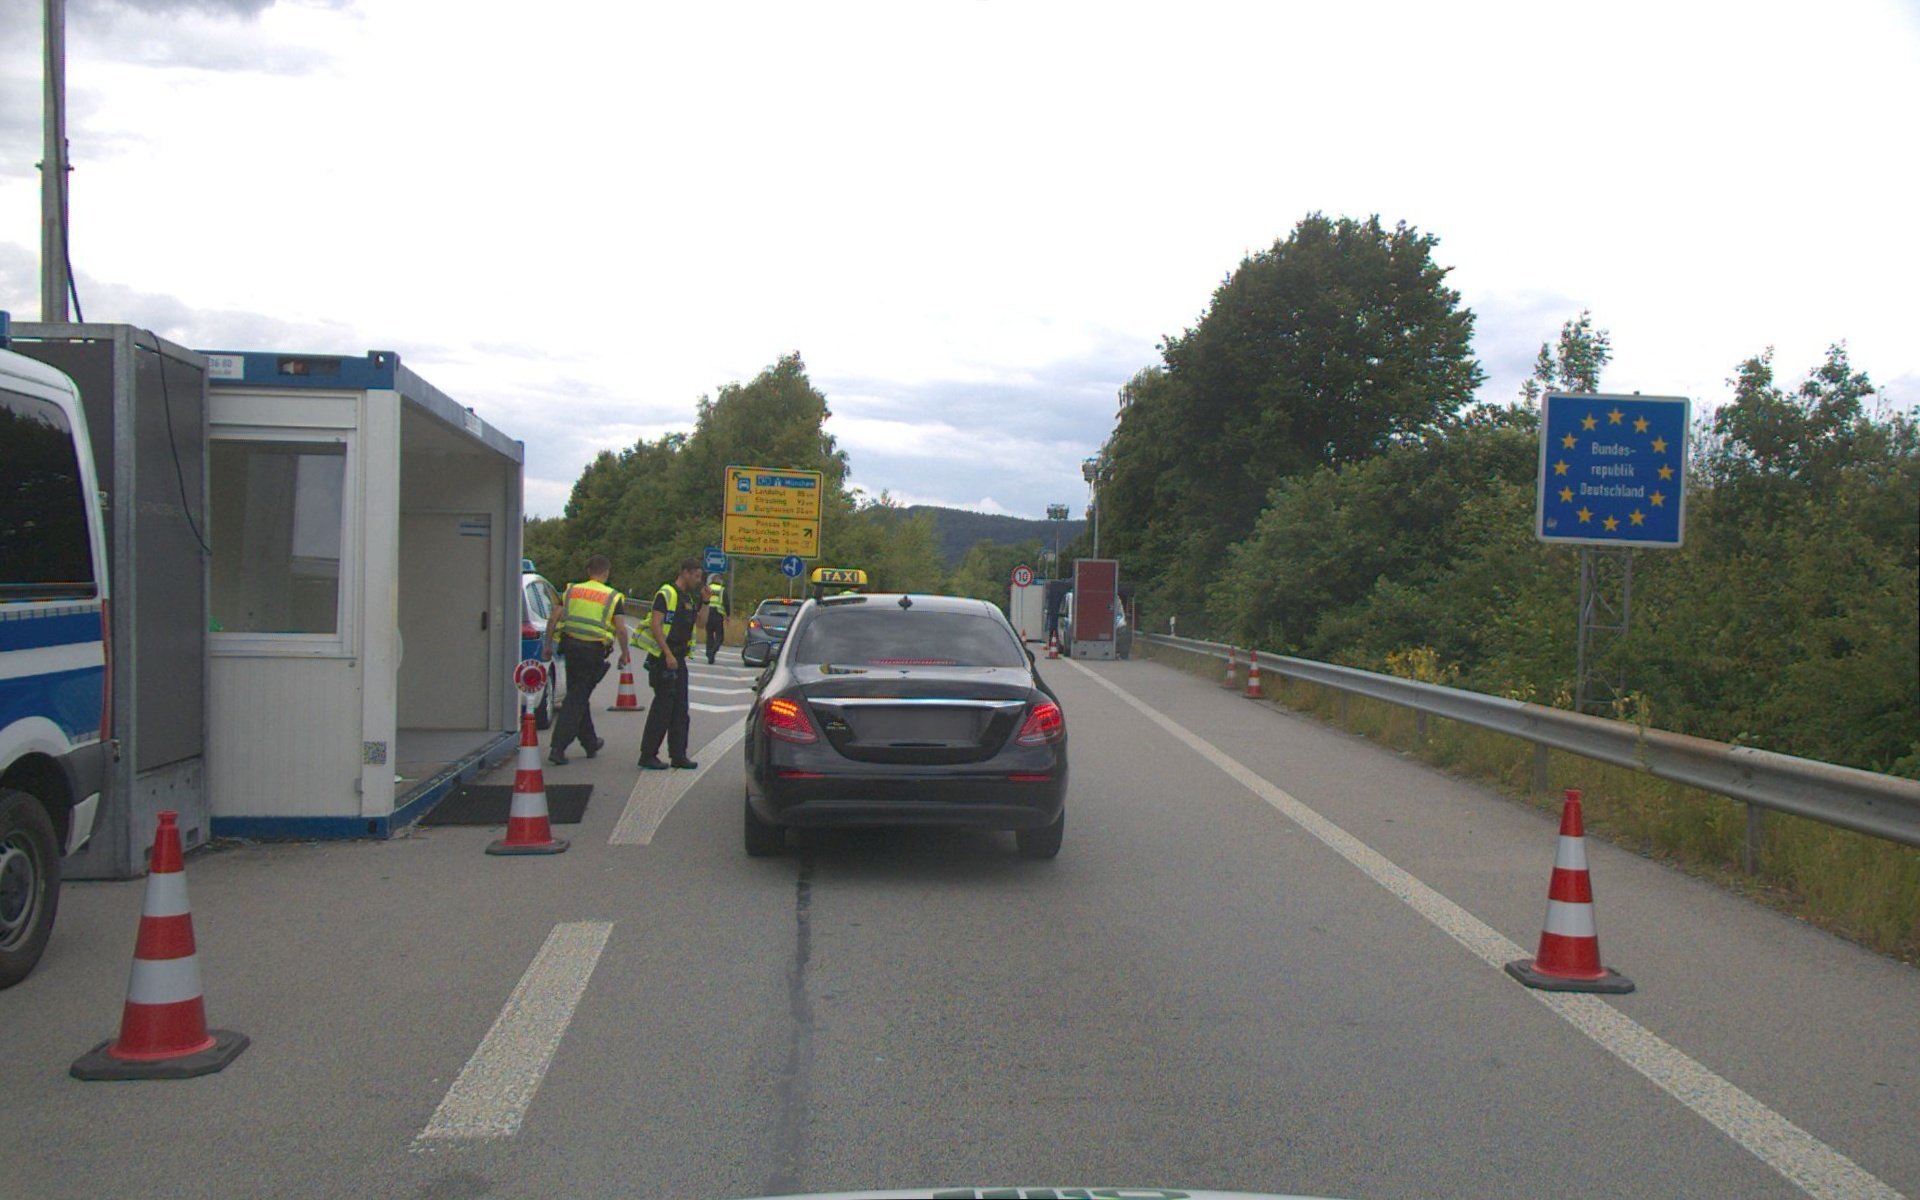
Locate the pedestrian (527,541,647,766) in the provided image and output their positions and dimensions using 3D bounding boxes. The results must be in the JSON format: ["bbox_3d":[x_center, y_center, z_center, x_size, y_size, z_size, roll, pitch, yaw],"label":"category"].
[{"bbox_3d":[-3.184,0.445,14.180,0.795,1.862,0.810,1,0,3],"label":"pedestrian"}]

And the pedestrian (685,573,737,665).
[{"bbox_3d":[-4.999,0.382,33.264,0.890,1.800,0.913,1,0,-3],"label":"pedestrian"}]

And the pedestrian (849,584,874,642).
[{"bbox_3d":[-3.439,0.444,57.762,0.650,1.995,0.760,1,0,14],"label":"pedestrian"}]

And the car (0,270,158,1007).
[{"bbox_3d":[-4.139,0.130,4.182,1.989,2.506,5.274,1,0,-5],"label":"car"}]

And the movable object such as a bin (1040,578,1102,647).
[{"bbox_3d":[3.885,0.413,58.475,1.952,2.320,4.168,1,0,1],"label":"movable object such as a bin"}]

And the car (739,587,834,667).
[{"bbox_3d":[-3.546,0.517,34.398,1.819,1.524,4.253,1,0,-4],"label":"car"}]

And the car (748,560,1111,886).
[{"bbox_3d":[-0.373,0.617,10.524,1.820,1.623,4.370,1,0,-6],"label":"car"}]

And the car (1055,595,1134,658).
[{"bbox_3d":[3.971,0.738,49.632,1.877,1.707,5.083,3,0,0],"label":"car"}]

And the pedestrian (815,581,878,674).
[{"bbox_3d":[-2.152,0.508,31.405,0.898,1.727,0.906,1,0,-27],"label":"pedestrian"}]

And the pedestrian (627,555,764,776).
[{"bbox_3d":[-2.170,0.513,13.610,0.801,1.748,0.759,0,0,36],"label":"pedestrian"}]

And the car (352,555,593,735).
[{"bbox_3d":[-5.321,0.446,18.572,1.833,1.774,4.003,1,0,-5],"label":"car"}]
